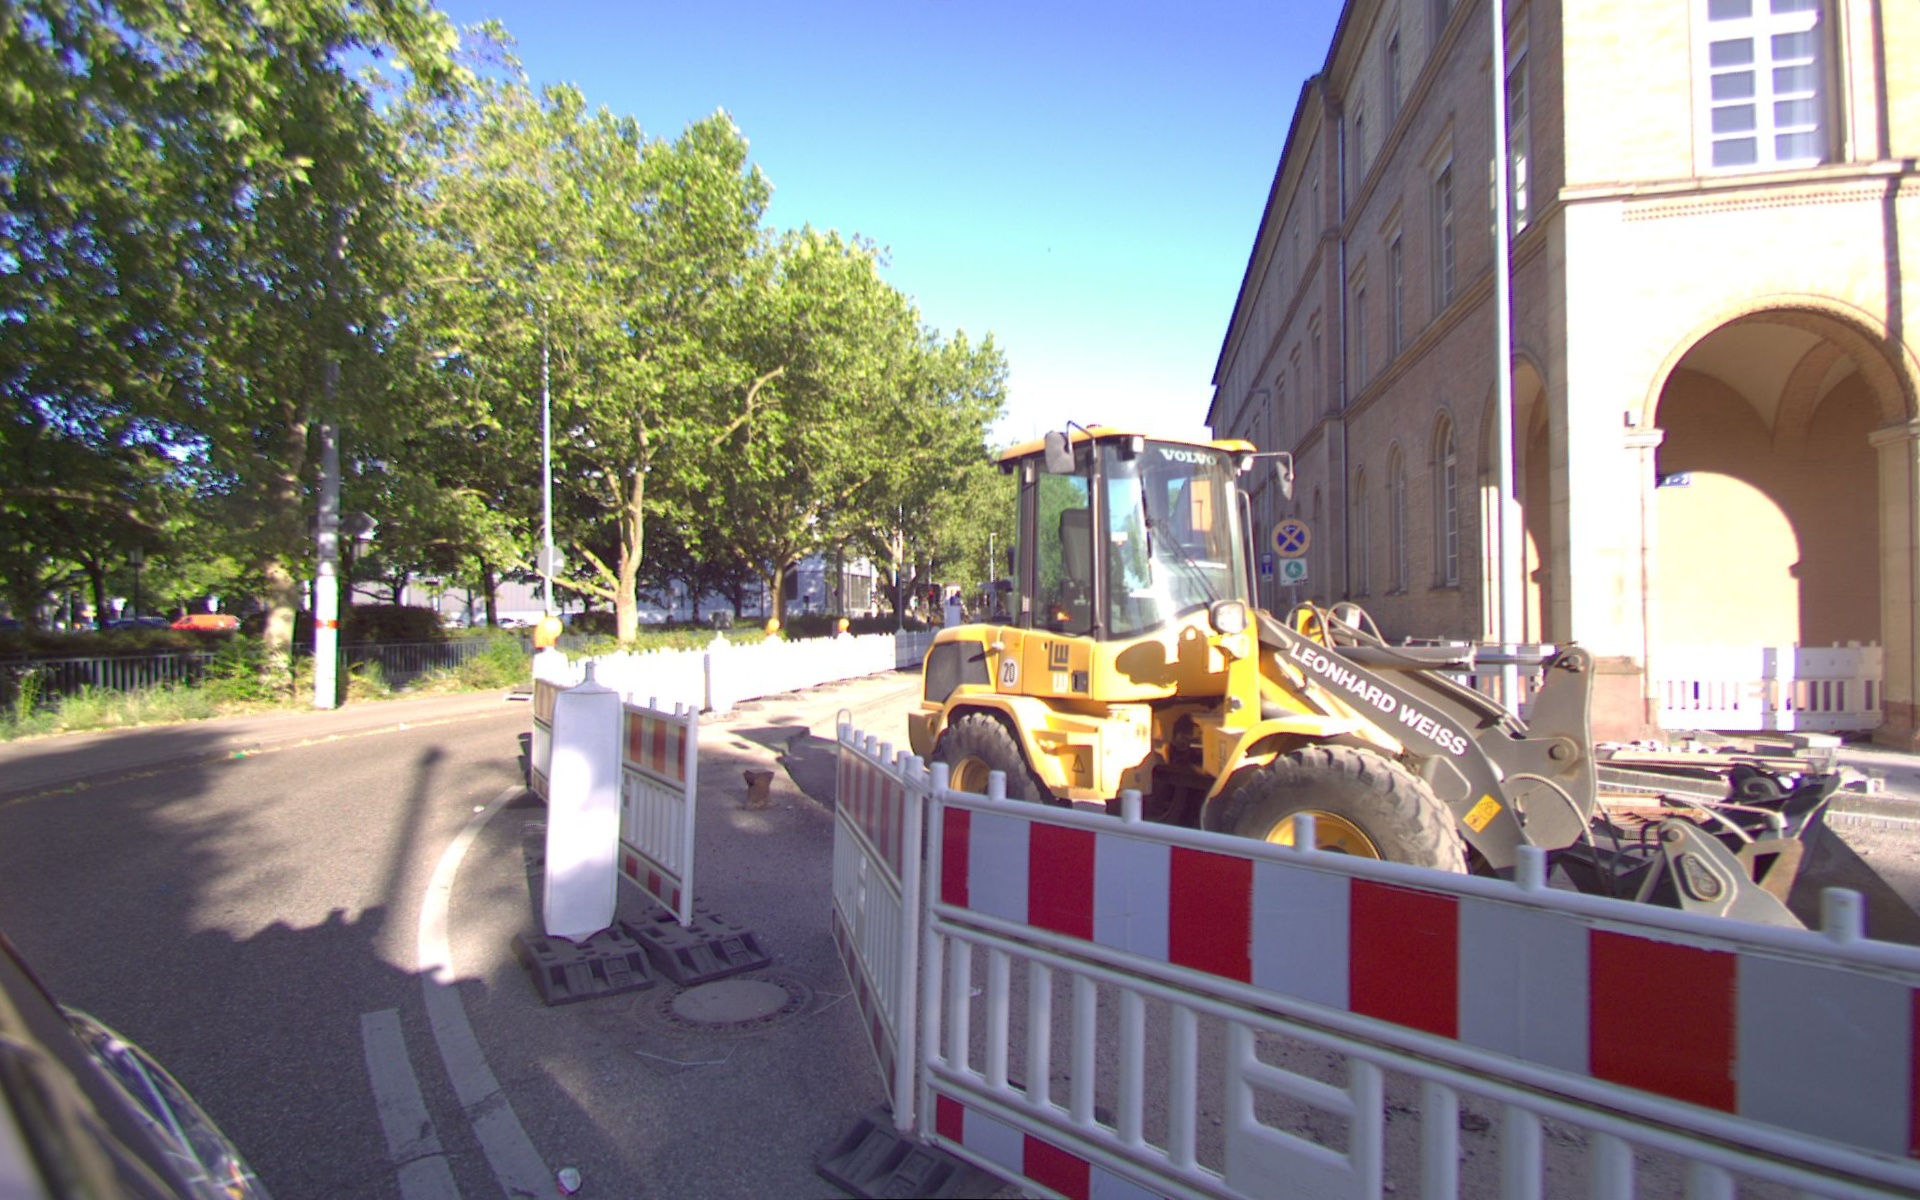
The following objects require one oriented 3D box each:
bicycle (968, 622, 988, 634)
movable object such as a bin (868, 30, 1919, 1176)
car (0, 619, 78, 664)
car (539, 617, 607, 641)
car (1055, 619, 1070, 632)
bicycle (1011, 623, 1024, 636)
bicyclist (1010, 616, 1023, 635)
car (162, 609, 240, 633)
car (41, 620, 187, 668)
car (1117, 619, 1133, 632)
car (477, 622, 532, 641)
[{"bbox_3d":[1.542,2.477,88.471,1.608,1.006,0.624,1,1,-14],"label":"bicycle"},{"bbox_3d":[2.091,0.049,5.540,2.524,3.054,5.946,1,-1,-35],"label":"movable object such as a bin"},{"bbox_3d":[-35.278,1.536,37.383,1.536,1.638,3.986,-2,-2,10],"label":"car"},{"bbox_3d":[-30.846,2.297,80.743,4.666,1.842,2.103,-1,-1,9],"label":"car"},{"bbox_3d":[13.222,3.292,130.409,1.767,1.541,4.644,-1,-1,9],"label":"car"},{"bbox_3d":[5.102,2.616,90.227,0.698,1.075,1.916,-1,-3,18],"label":"bicycle"},{"bbox_3d":[5.050,2.240,90.256,0.942,1.652,1.002,-2,-2,18],"label":"bicyclist"},{"bbox_3d":[-62.266,1.715,83.053,4.845,1.800,2.089,1,-1,1],"label":"car"},{"bbox_3d":[-30.642,1.546,36.821,1.742,1.638,3.993,-1,-1,6],"label":"car"},{"bbox_3d":[25.509,3.923,156.397,1.975,1.830,5.117,1,-1,5],"label":"car"},{"bbox_3d":[-36.615,2.515,81.415,3.806,1.496,1.626,-1,-1,9],"label":"car"}]
